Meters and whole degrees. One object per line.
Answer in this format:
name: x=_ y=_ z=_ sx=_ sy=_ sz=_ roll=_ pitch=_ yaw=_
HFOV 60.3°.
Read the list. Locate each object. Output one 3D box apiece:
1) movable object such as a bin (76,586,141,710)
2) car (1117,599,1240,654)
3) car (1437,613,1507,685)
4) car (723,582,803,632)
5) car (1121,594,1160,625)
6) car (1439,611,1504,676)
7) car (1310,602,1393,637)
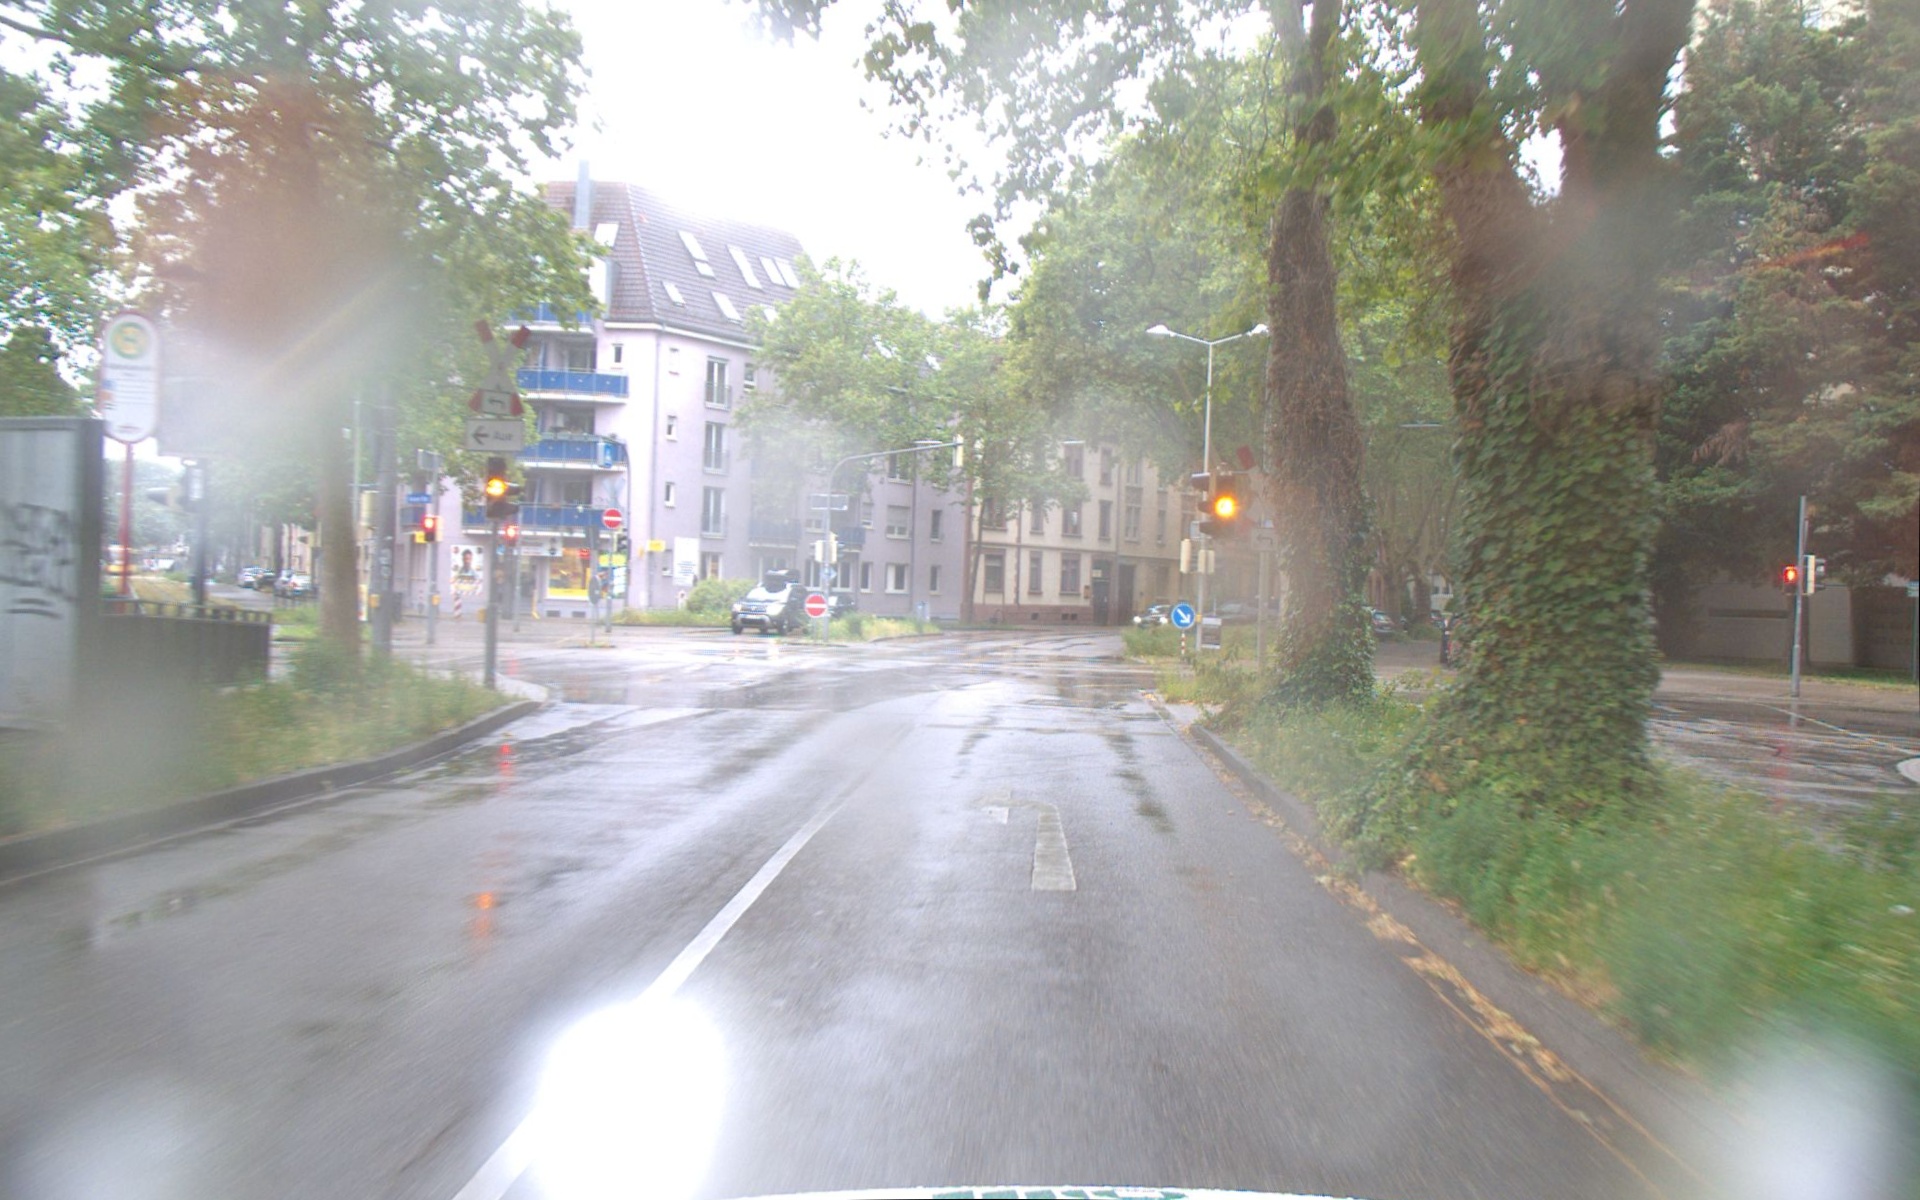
movable object such as a bin: x=-7.769 y=0.431 z=15.105 sx=0.409 sy=1.109 sz=0.529 roll=0 pitch=0 yaw=-13
car: x=6.315 y=0.742 z=47.735 sx=3.404 sy=1.550 sz=1.521 roll=0 pitch=0 yaw=12
car: x=15.823 y=1.453 z=50.969 sx=1.952 sy=2.049 sz=4.001 roll=0 pitch=0 yaw=19
car: x=-6.409 y=0.196 z=54.047 sx=1.688 sy=1.579 sz=3.563 roll=0 pitch=0 yaw=9
car: x=9.455 y=0.459 z=86.312 sx=1.568 sy=1.579 sz=3.562 roll=0 pitch=0 yaw=14
car: x=17.176 y=1.421 z=55.419 sx=1.952 sy=2.049 sz=4.001 roll=0 pitch=0 yaw=19
car: x=18.854 y=0.933 z=79.713 sx=3.540 sy=1.646 sz=1.678 roll=0 pitch=0 yaw=32
